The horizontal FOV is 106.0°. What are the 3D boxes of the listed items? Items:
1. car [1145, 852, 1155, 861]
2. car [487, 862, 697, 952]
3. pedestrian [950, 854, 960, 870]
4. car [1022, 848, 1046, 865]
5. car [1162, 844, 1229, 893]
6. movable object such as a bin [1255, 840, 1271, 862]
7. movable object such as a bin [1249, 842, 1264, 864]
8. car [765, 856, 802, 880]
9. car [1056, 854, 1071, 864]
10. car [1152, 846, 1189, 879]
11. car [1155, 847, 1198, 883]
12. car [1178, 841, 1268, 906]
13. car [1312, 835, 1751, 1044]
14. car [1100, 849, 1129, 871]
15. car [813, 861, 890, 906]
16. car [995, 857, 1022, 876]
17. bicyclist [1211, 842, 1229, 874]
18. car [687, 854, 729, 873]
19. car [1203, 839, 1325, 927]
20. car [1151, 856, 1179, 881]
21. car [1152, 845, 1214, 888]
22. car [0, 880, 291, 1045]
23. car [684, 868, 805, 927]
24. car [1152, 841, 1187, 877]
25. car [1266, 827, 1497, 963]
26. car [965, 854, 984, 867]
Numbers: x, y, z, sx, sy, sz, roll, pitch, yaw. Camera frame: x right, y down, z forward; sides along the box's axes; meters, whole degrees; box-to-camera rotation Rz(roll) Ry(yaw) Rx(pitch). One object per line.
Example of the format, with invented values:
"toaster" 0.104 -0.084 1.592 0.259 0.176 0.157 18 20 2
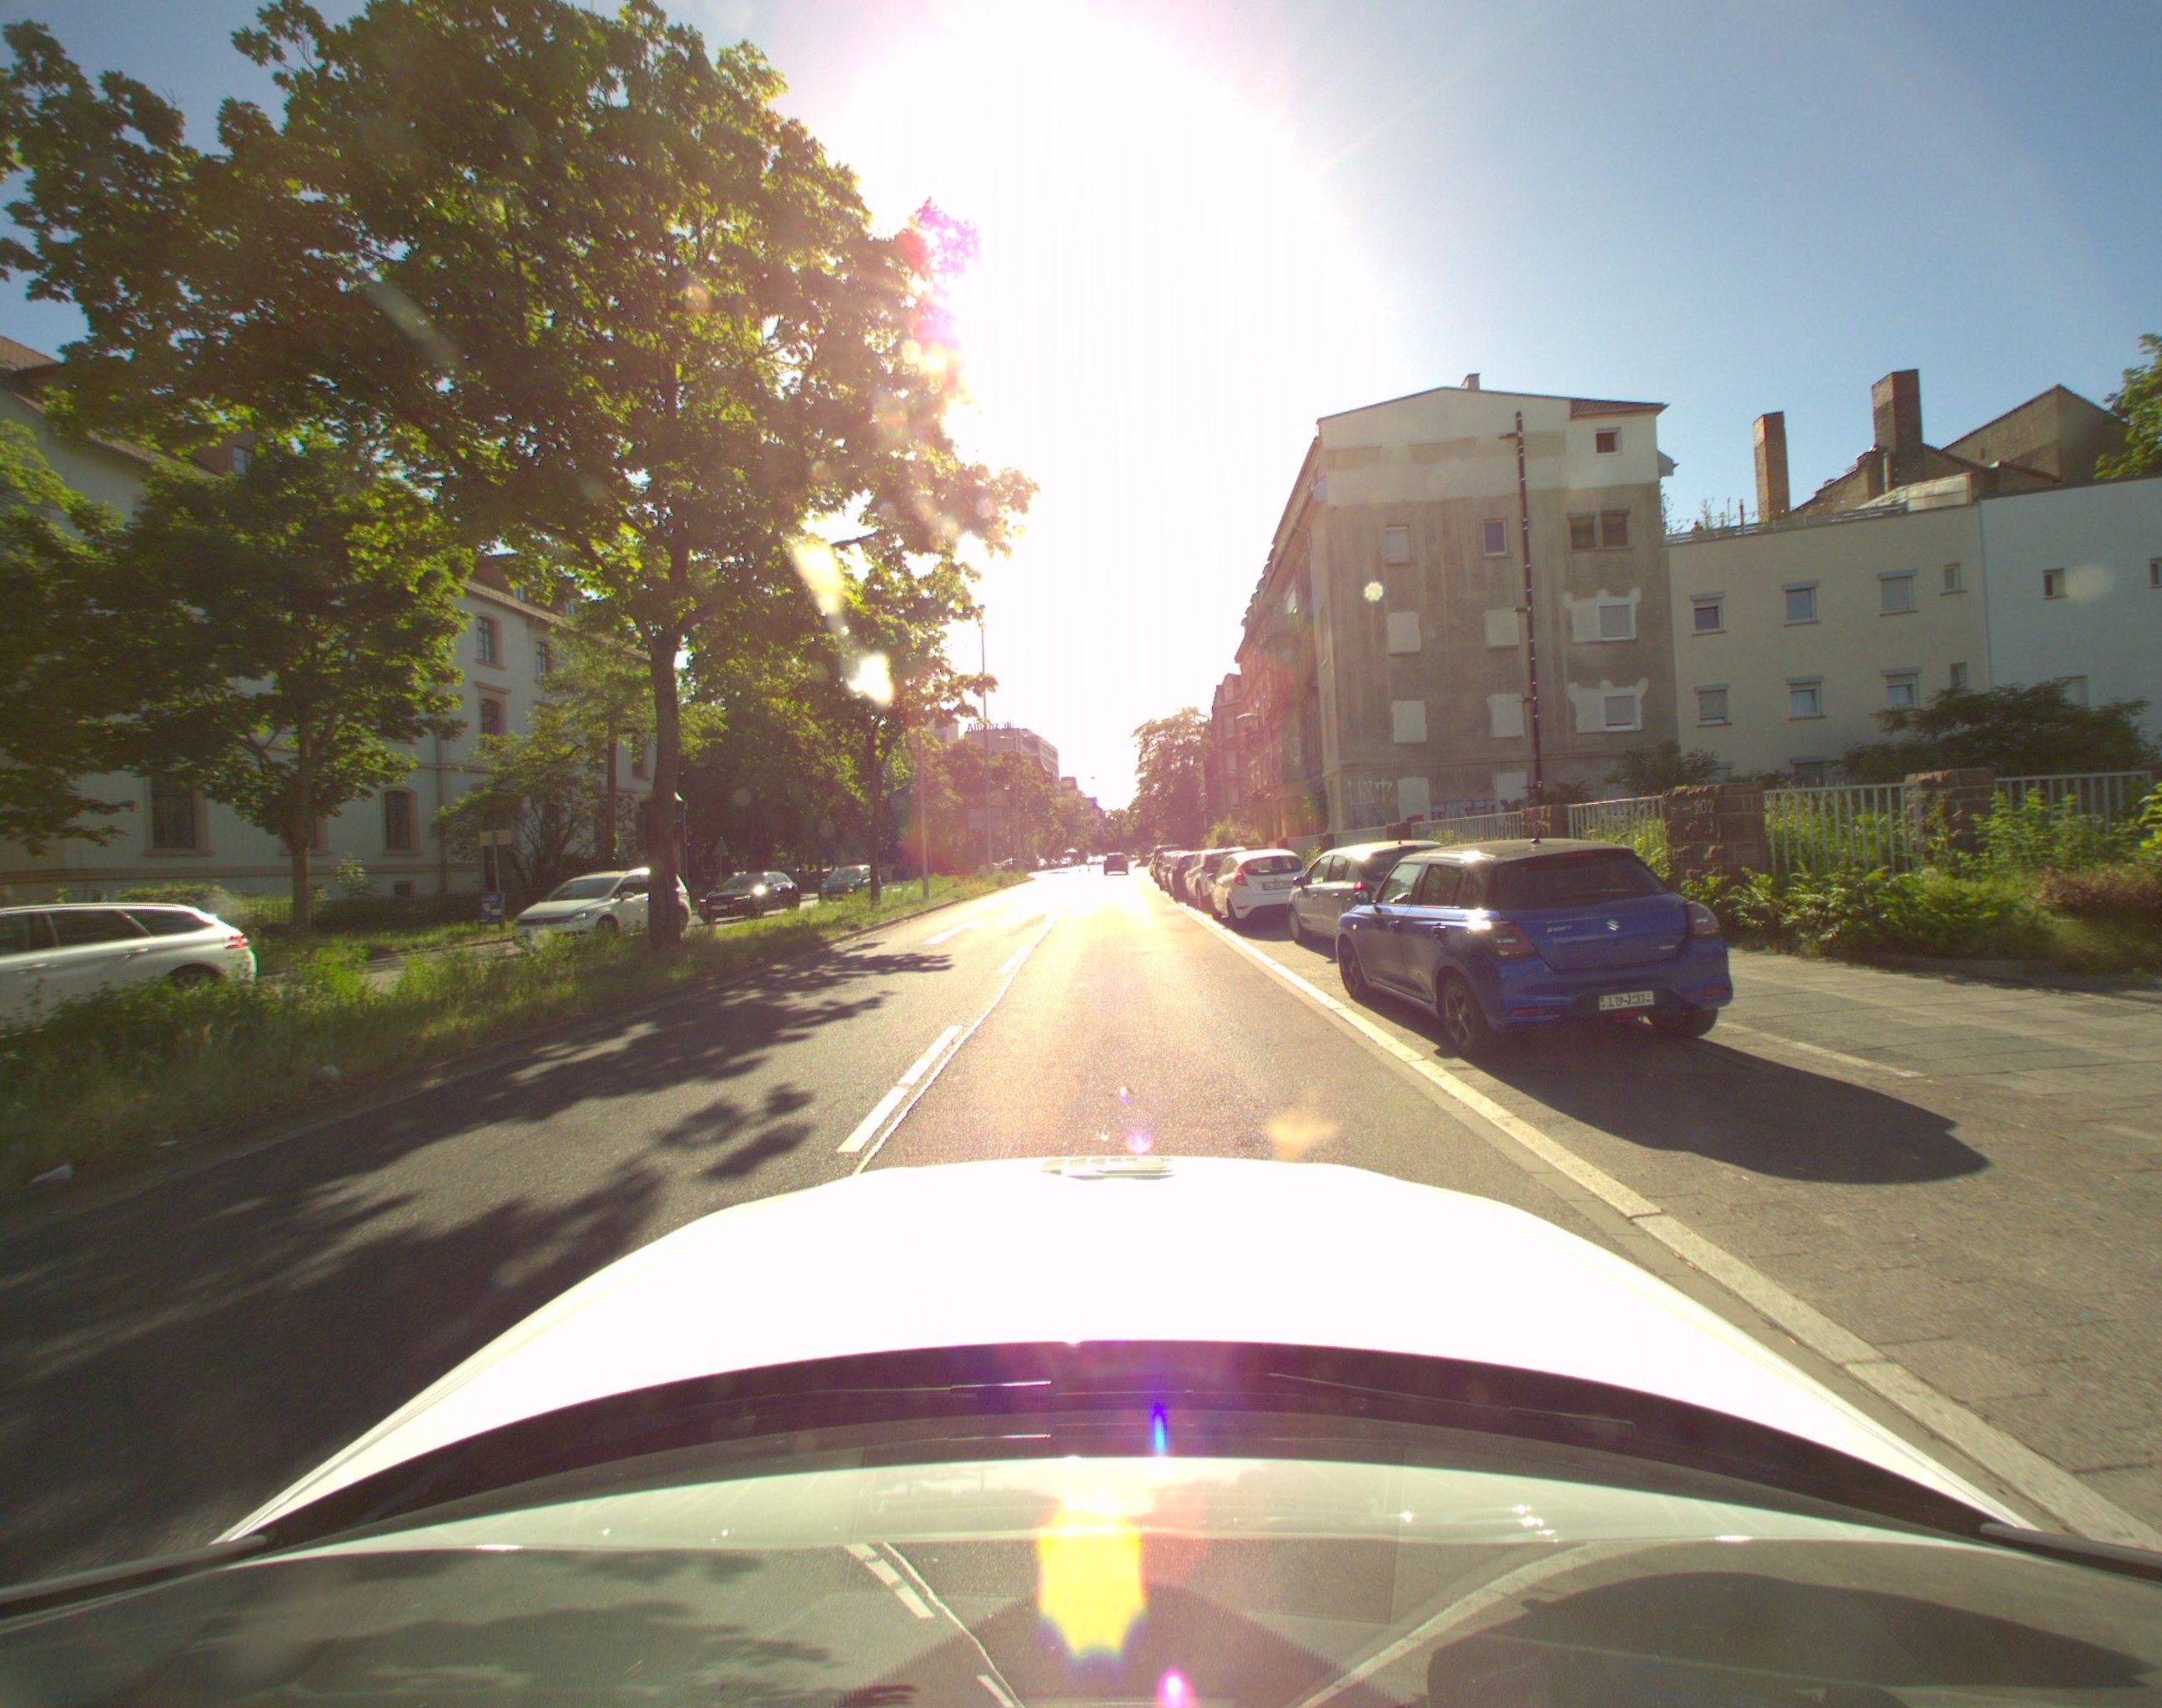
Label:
"car" 14.972 0.548 176.214 1.909 1.640 4.010 -3 0 9
"car" -10.860 1.093 18.570 1.894 1.625 4.538 -4 0 1
"pedestrian" -13.598 0.884 87.791 0.662 1.626 0.720 -3 0 36
"car" -5.759 0.306 100.245 2.188 1.929 4.869 -3 0 5
"car" 3.657 0.438 26.610 1.662 1.393 3.776 -3 0 1
"movable object such as a bin" 9.741 -0.149 43.598 0.755 1.157 0.609 -2 -3 4
"movable object such as a bin" 9.590 -0.032 44.556 0.719 1.157 0.609 -2 -3 4
"car" -31.515 1.490 86.522 1.838 2.324 4.988 -1 -3 3
"car" -2.613 0.714 121.096 1.514 1.432 3.346 -3 0 10
"car" 4.423 0.392 40.751 1.660 1.467 4.280 -3 0 5
"car" 4.303 0.466 36.957 1.615 1.470 3.301 3 1 2
"car" 3.762 0.479 22.139 1.663 1.519 3.659 -3 0 -1
"car" 3.462 0.534 7.209 1.662 1.182 3.901 -6 0 0
"car" 2.360 0.417 58.666 1.889 1.519 3.999 -1 0 -1
"car" -8.832 1.083 31.663 1.632 1.519 4.259 -3 0 1
"car" -6.326 1.057 71.515 1.789 1.519 4.424 -2 0 1
"bicyclist" 6.965 0.200 40.779 0.738 1.580 1.101 -2 1 4
"car" -33.919 0.883 74.210 1.838 1.491 4.002 -2 -3 3
"car" 3.616 0.509 16.711 1.603 1.446 3.659 -6 0 1
"car" 5.391 0.917 52.582 1.702 1.425 4.210 1 1 4
"car" 3.996 0.440 32.686 1.928 1.519 4.485 -3 0 1
"car" -11.563 1.192 8.481 1.831 1.519 4.670 -5 0 3
"car" -10.284 1.271 25.245 1.788 1.519 4.089 -4 -1 3
"car" 4.991 0.231 46.368 1.811 1.843 4.370 -3 0 5
"car" 4.054 0.480 11.746 1.663 1.459 3.984 -6 0 -1
"car" -14.714 0.872 112.367 1.980 1.662 3.976 -3 0 -18
